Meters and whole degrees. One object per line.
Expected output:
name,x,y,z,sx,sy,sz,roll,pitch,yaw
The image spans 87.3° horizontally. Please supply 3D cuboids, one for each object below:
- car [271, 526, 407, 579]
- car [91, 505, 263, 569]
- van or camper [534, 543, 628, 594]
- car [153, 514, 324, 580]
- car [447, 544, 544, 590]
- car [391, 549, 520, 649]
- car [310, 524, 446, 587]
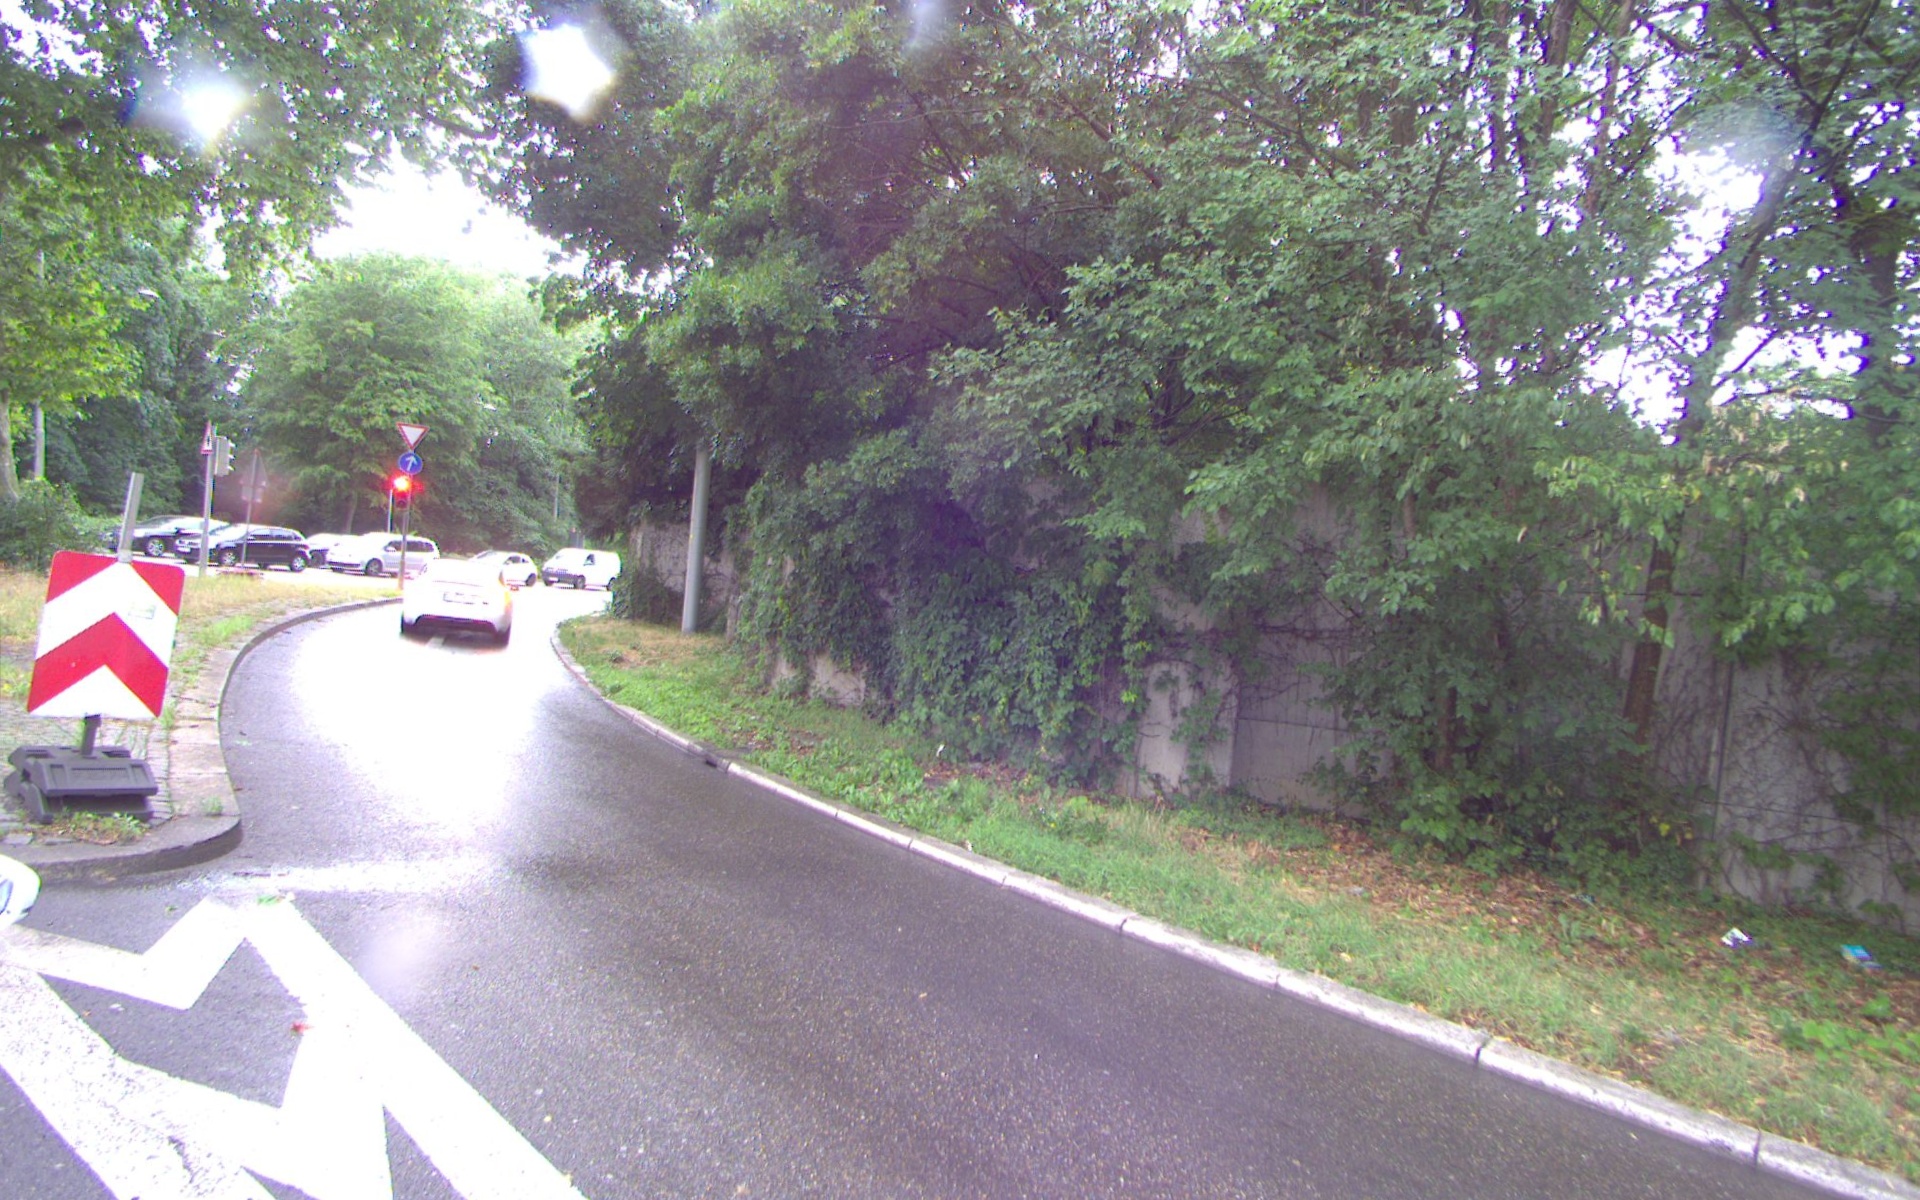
car,-24.783,-1.864,40.361,1.795,1.418,4.452,7,-2,16
car,-26.643,-2.097,34.414,1.913,1.457,4.218,7,-2,16
van or camper,-19.087,-1.540,50.899,1.870,1.970,4.870,7,-1,13
car,-23.324,-1.662,32.734,1.759,1.477,4.205,7,-2,16
car,-20.550,-1.415,44.692,1.627,1.478,3.869,7,-2,16
car,-9.842,-0.072,19.935,1.837,1.464,4.593,11,-3,-24
car,-22.083,-1.643,38.350,1.871,1.699,4.216,7,-2,16
